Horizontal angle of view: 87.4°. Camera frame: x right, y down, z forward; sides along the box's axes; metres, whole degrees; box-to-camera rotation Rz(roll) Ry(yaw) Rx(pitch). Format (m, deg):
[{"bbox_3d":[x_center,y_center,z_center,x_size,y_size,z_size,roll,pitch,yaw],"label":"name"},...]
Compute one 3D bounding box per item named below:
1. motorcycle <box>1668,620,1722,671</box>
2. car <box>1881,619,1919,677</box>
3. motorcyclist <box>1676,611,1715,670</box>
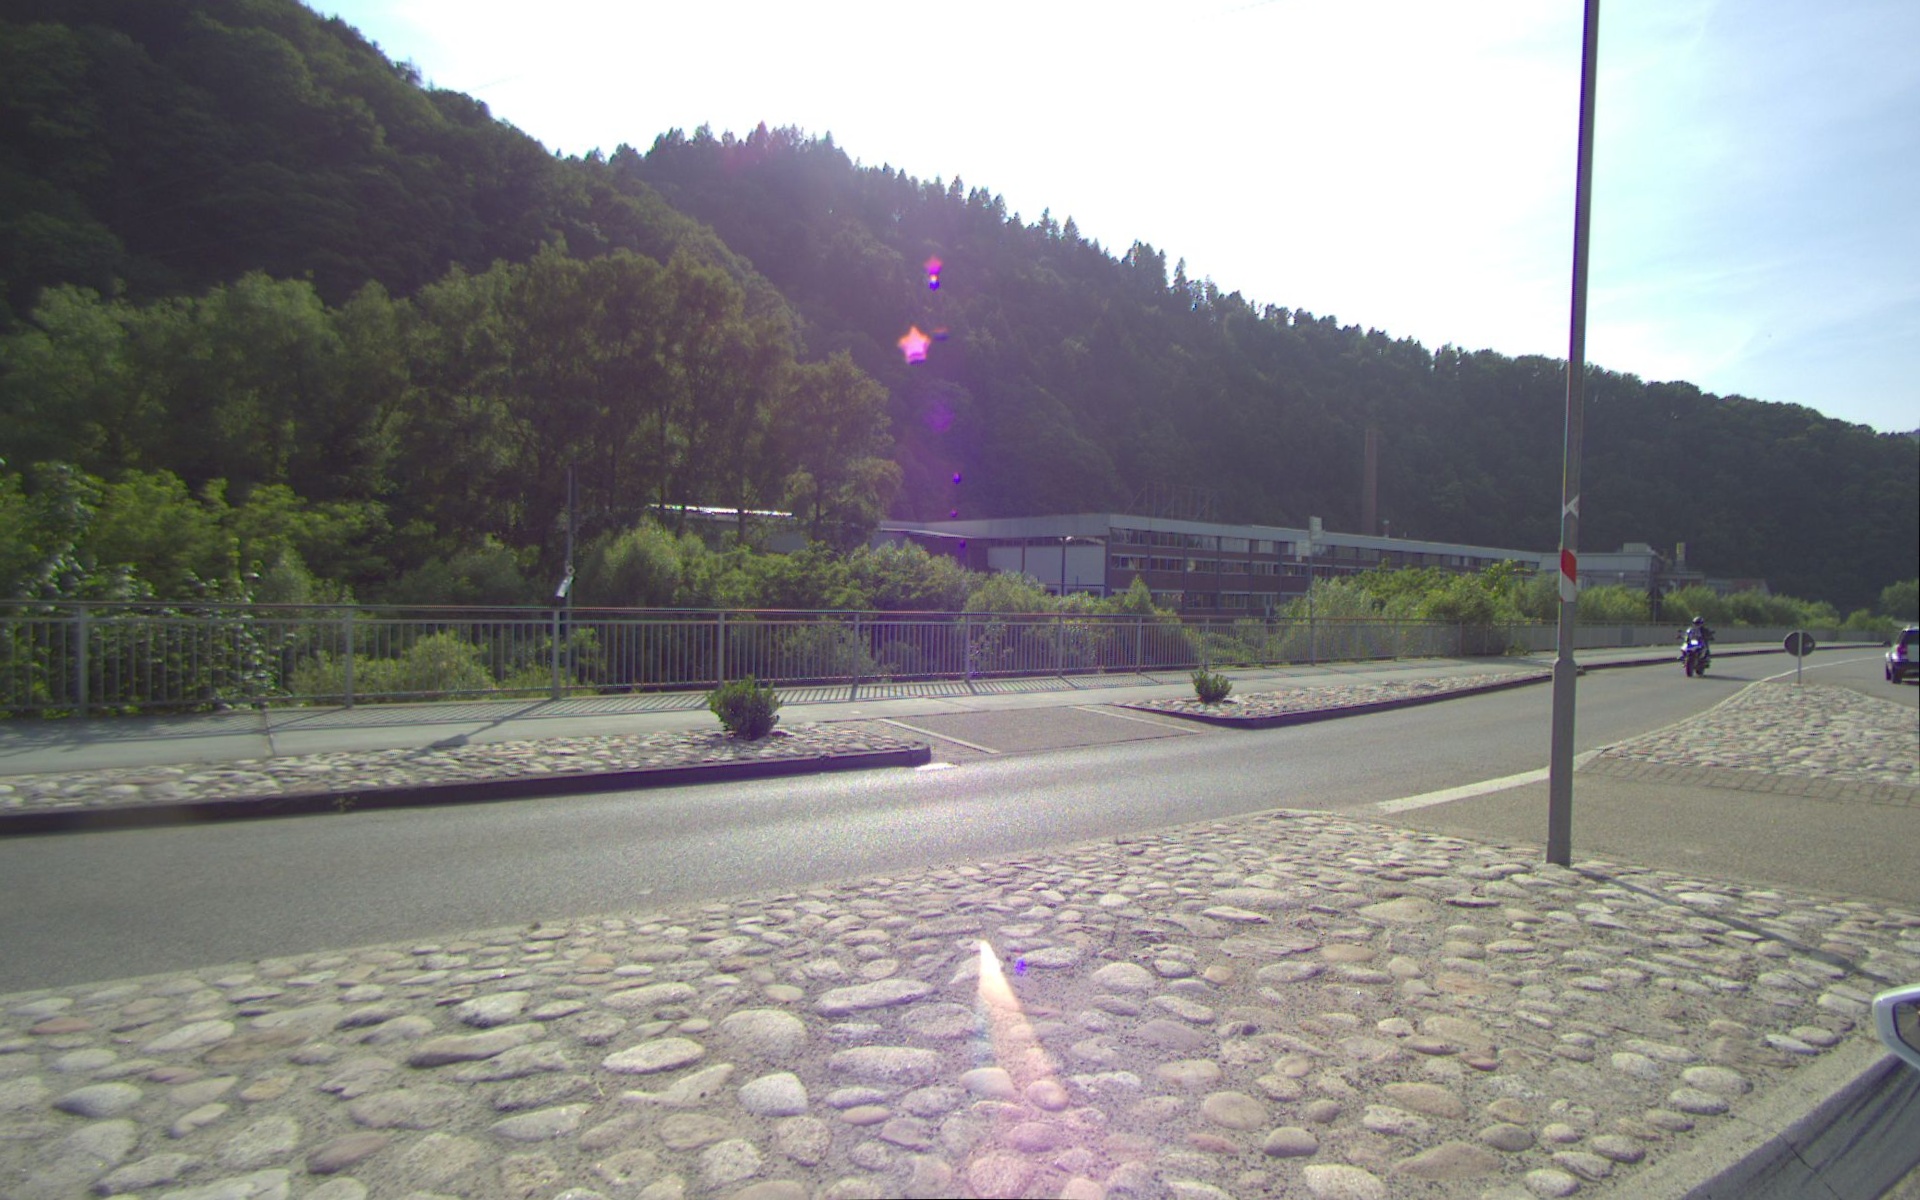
[{"bbox_3d":[21.710,1.328,29.658,2.299,1.441,0.766,1,0,-40],"label":"motorcycle"},{"bbox_3d":[28.024,1.380,29.113,1.840,1.565,4.349,3,1,42],"label":"car"},{"bbox_3d":[21.743,1.187,29.692,0.721,1.700,0.757,2,0,-39],"label":"motorcyclist"}]
